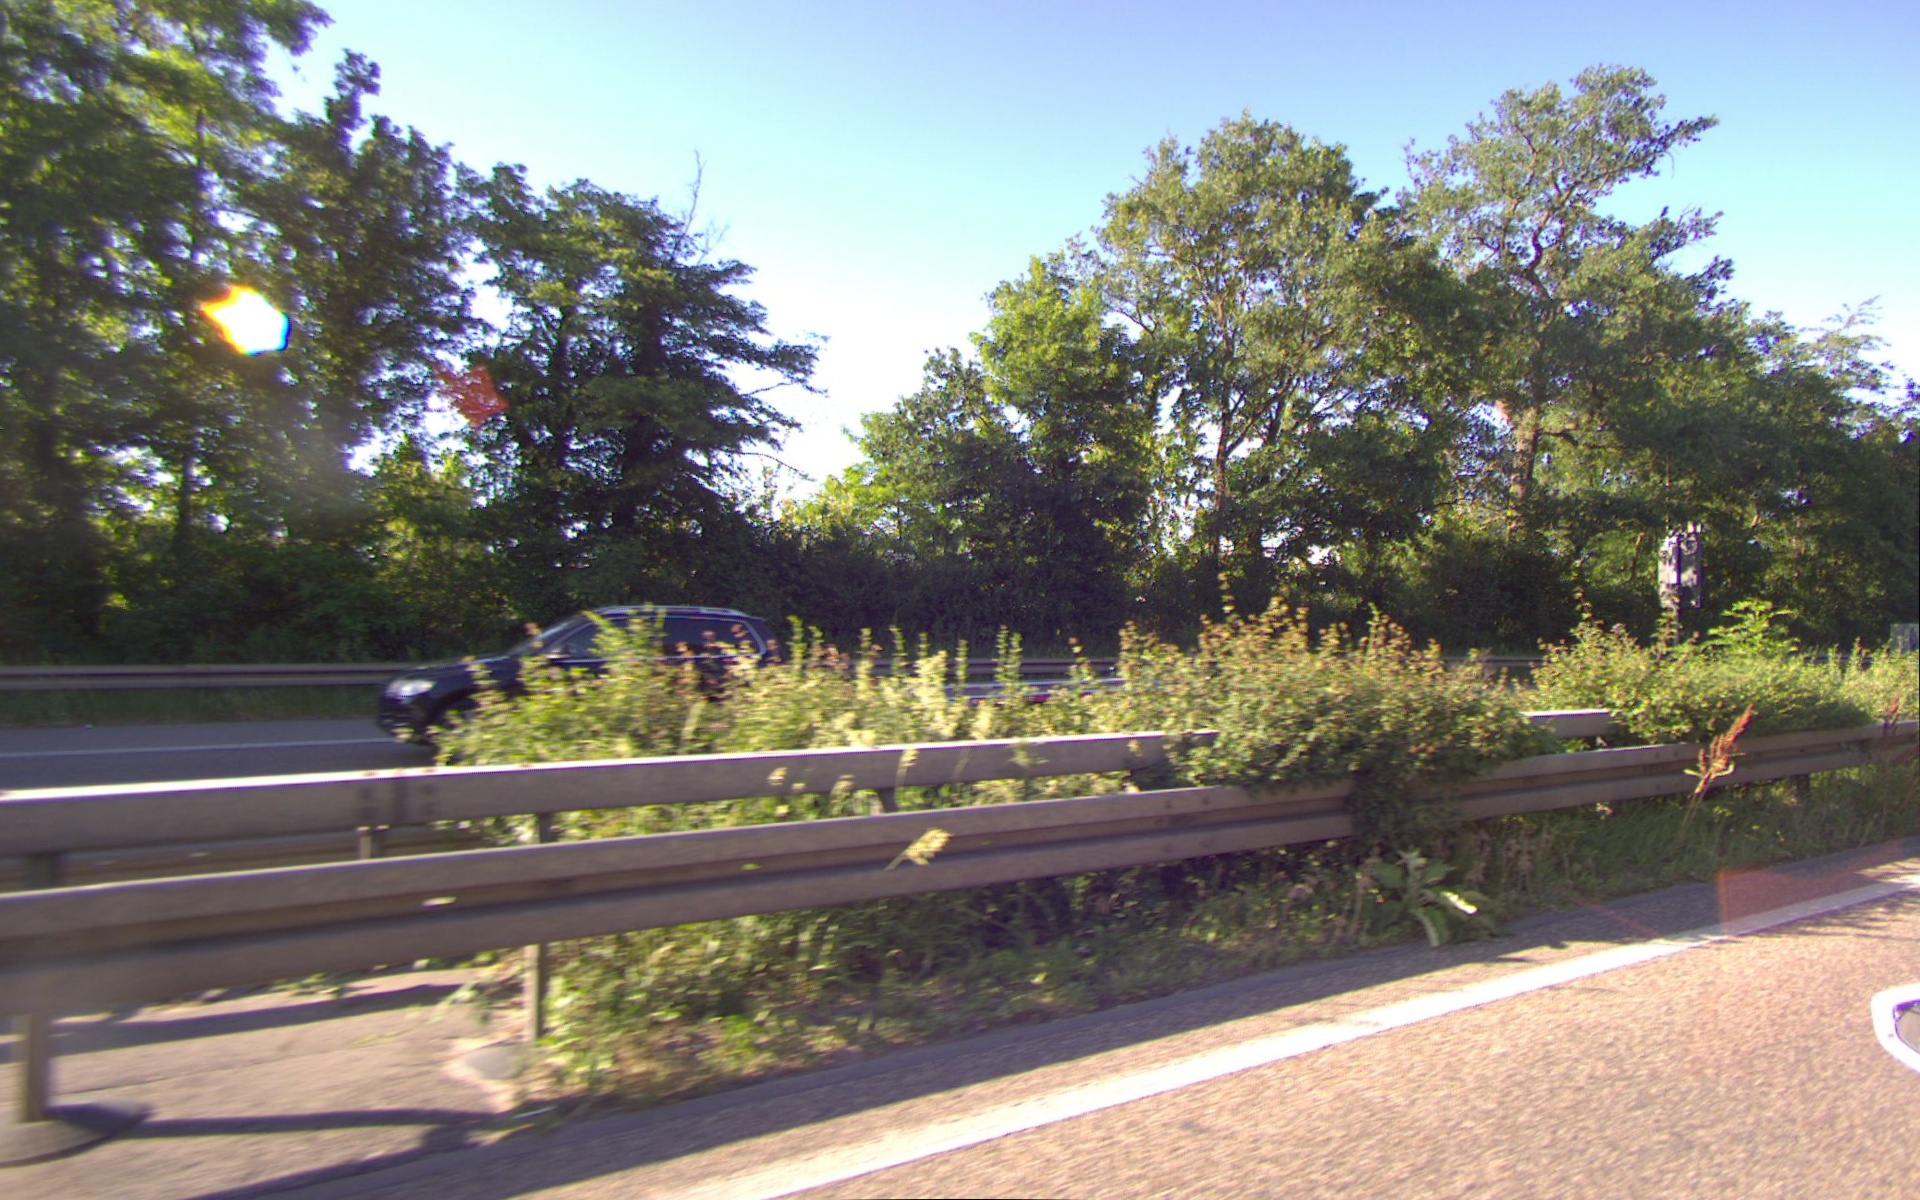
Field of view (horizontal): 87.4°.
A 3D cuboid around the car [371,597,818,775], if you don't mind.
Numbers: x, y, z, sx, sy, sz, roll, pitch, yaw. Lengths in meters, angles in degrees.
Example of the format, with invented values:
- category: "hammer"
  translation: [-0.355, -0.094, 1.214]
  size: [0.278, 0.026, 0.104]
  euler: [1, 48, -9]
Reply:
- category: "car"
  translation: [-4.256, 0.905, 11.949]
  size: [4.689, 1.747, 1.951]
  euler: [2, 0, -30]

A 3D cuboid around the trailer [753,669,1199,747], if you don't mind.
- category: "trailer"
  translation: [0.371, 1.470, 14.585]
  size: [6.257, 0.750, 2.248]
  euler: [2, -1, -30]
